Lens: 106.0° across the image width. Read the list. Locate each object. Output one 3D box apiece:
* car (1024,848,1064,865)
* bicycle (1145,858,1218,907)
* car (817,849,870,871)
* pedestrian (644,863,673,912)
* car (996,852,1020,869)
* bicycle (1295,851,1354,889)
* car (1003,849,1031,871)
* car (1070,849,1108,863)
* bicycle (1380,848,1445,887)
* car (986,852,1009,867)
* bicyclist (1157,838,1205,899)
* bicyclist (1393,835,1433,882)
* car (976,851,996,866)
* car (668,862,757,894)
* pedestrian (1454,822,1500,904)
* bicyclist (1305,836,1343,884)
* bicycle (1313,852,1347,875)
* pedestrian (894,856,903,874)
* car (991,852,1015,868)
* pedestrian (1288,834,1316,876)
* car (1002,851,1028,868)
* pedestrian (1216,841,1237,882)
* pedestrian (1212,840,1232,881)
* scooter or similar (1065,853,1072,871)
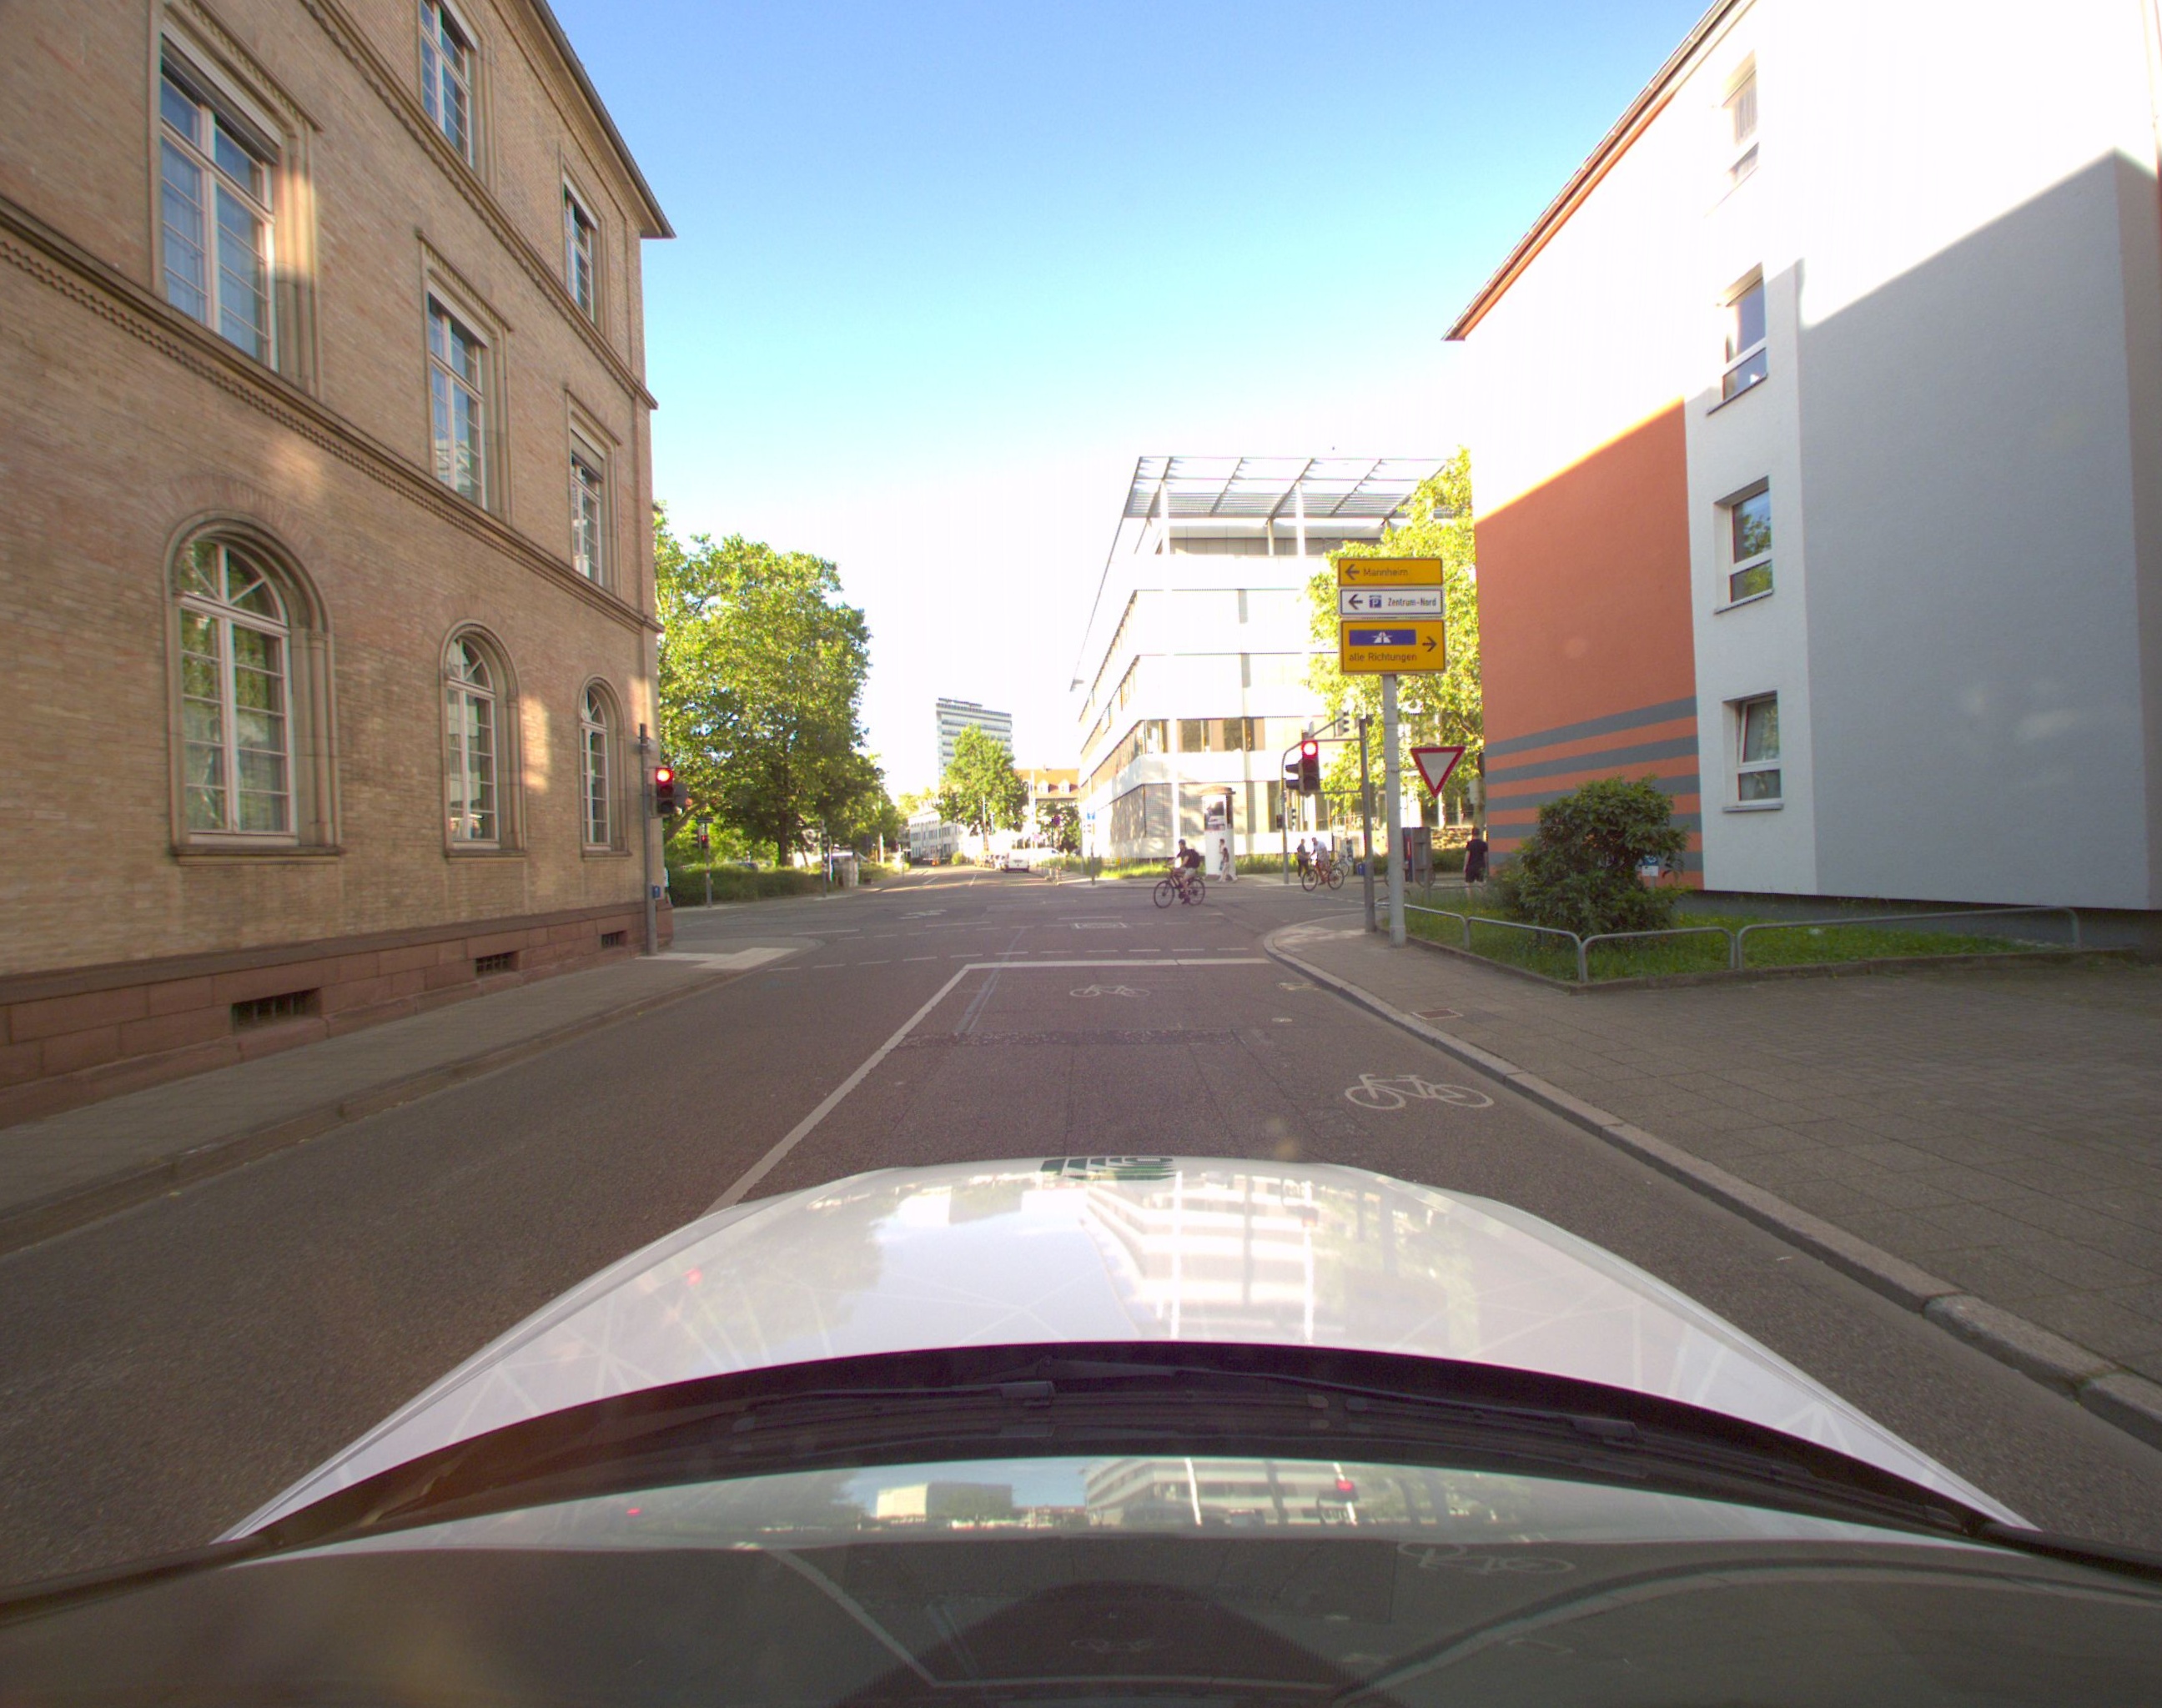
[{"bbox_3d":[-4.686,0.293,103.255,4.802,2.159,1.989,0,-1,-16],"label":"car"},{"bbox_3d":[2.646,0.724,21.381,1.978,1.152,0.586,-2,0,-35],"label":"bicycle"},{"bbox_3d":[-22.027,0.544,75.774,4.441,2.014,1.995,0,-1,-8],"label":"car"},{"bbox_3d":[-16.433,1.286,31.666,0.920,1.869,0.735,0,-1,-34],"label":"pedestrian"},{"bbox_3d":[-6.923,0.623,77.159,1.993,1.499,4.638,0,-1,-8],"label":"car"},{"bbox_3d":[7.953,0.509,26.542,1.976,1.152,0.621,-2,0,-30],"label":"bicycle"},{"bbox_3d":[-5.175,0.479,65.124,1.992,1.725,4.640,0,-1,-7],"label":"car"},{"bbox_3d":[1.020,0.276,104.962,4.644,1.725,1.990,0,-1,-15],"label":"car"},{"bbox_3d":[10.547,0.424,25.937,1.774,1.152,0.627,-2,0,-2],"label":"bicycle"},{"bbox_3d":[-8.887,0.608,86.385,1.994,1.499,4.635,0,-1,-10],"label":"car"},{"bbox_3d":[2.626,0.370,21.390,1.083,1.527,0.586,-2,0,-34],"label":"bicyclist"},{"bbox_3d":[10.551,0.144,25.930,0.968,1.446,0.627,-2,0,-2],"label":"bicyclist"},{"bbox_3d":[-11.304,0.556,96.309,1.995,1.725,4.633,0,-1,-11],"label":"car"},{"bbox_3d":[-17.086,1.098,37.908,3.407,1.457,1.646,0,-1,-8],"label":"car"},{"bbox_3d":[9.009,0.211,18.522,0.723,1.810,0.693,0,-1,-39],"label":"pedestrian"},{"bbox_3d":[7.937,0.187,26.552,0.921,1.522,0.697,-2,0,-30],"label":"bicyclist"},{"bbox_3d":[11.003,0.429,36.033,0.381,1.008,1.416,-2,0,-40],"label":"bicycle"},{"bbox_3d":[-15.733,0.932,70.278,0.700,1.587,0.633,0,-1,-14],"label":"pedestrian"},{"bbox_3d":[-7.846,0.601,81.632,1.994,1.499,4.270,0,-1,-11],"label":"car"},{"bbox_3d":[9.674,0.055,35.668,0.765,1.815,0.907,0,-1,-37],"label":"pedestrian"},{"bbox_3d":[-5.850,0.492,71.358,1.993,1.499,4.638,0,-1,-8],"label":"car"},{"bbox_3d":[6.188,0.334,34.680,0.758,1.719,0.651,-1,-1,20],"label":"pedestrian"},{"bbox_3d":[6.149,0.289,35.562,0.758,1.795,0.651,-1,-1,20],"label":"pedestrian"},{"bbox_3d":[-0.916,0.591,58.481,0.436,1.256,1.418,-2,0,-2],"label":"scooter or similar"}]
